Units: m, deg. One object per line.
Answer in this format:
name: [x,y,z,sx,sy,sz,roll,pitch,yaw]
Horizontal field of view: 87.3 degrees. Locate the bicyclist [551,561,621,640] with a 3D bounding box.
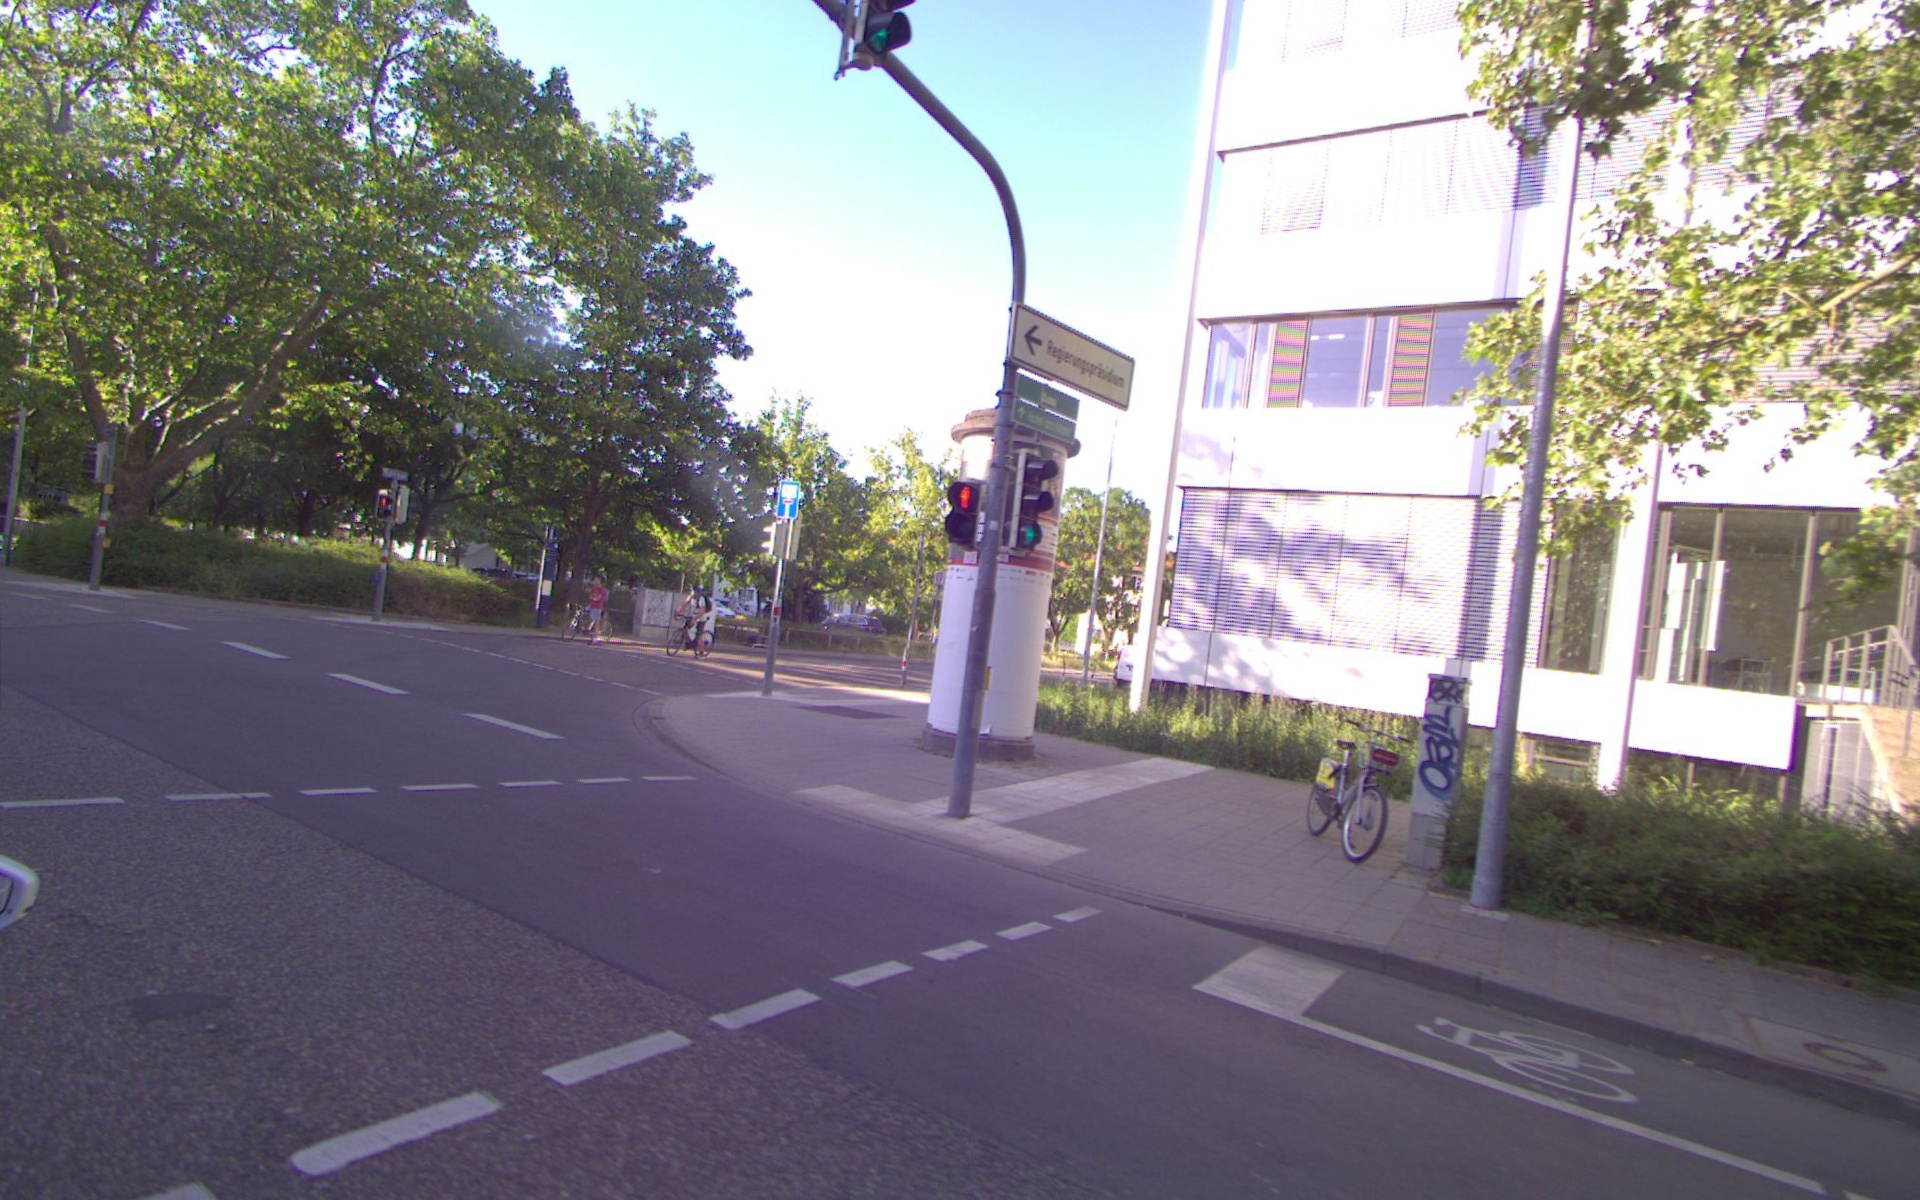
bicyclist: [-9.457,0.019,25.457,0.961,1.829,1.130,6,-2,30]

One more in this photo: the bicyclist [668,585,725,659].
bicyclist: [-6.278,0.512,23.936,0.942,1.565,1.118,8,1,-26]

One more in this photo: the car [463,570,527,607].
car: [-29.055,-0.717,62.839,3.943,1.800,1.993,5,-2,40]

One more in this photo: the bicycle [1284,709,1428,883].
bicycle: [3.475,1.670,9.004,0.462,1.196,1.995,6,-2,3]

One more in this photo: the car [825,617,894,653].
car: [-6.630,2.307,66.297,3.934,1.800,1.997,6,-2,32]

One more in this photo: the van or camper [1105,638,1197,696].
van or camper: [8.152,2.881,42.570,2.126,2.037,4.972,7,-2,30]

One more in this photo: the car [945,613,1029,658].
car: [1.639,2.130,60.943,4.485,2.138,2.000,6,-2,26]

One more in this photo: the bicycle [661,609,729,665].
bicycle: [-6.354,0.855,23.998,0.970,1.065,2.643,6,0,-26]

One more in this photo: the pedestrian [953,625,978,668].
pedestrian: [0.264,2.163,46.523,0.655,1.876,1.026,6,-1,20]

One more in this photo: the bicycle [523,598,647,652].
bicycle: [-9.468,0.670,25.602,0.926,1.050,3.004,6,-2,29]
